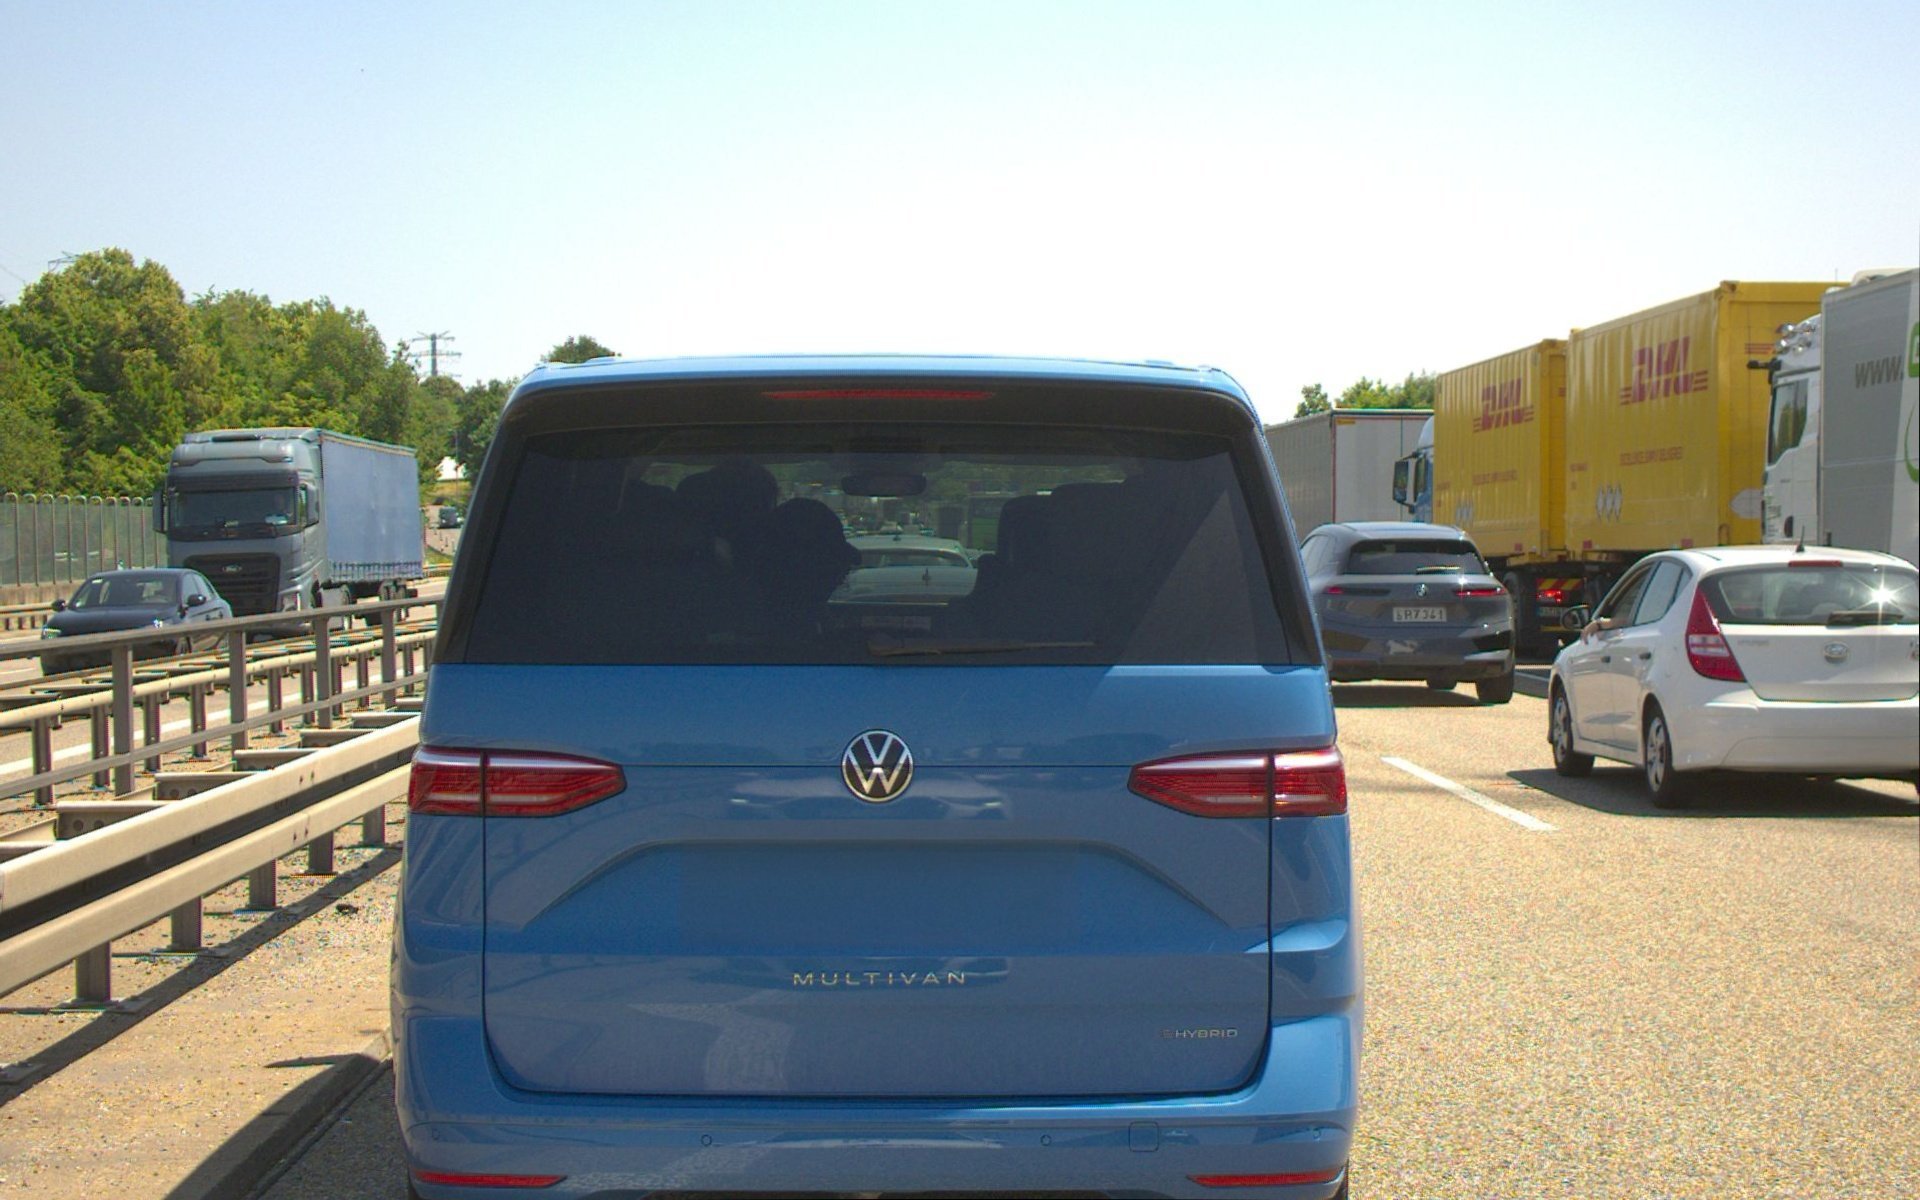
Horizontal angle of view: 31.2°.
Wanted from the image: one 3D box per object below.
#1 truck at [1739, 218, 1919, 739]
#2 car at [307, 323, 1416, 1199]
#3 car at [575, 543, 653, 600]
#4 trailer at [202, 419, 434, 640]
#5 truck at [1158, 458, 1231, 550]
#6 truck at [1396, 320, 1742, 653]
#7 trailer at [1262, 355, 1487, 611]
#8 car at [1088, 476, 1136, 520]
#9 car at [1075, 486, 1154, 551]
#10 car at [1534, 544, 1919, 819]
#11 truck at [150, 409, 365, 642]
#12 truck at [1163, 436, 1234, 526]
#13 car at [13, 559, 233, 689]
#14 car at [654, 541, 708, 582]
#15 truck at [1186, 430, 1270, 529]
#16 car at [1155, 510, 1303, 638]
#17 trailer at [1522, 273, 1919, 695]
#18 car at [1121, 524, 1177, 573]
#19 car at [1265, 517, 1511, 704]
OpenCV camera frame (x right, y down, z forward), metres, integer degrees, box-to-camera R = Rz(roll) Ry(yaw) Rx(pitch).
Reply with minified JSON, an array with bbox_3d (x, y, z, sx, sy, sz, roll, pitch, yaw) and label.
[{"bbox_3d":[8.645,-0.905,26.065,2.851,3.921,10.610,1,0,-1],"label":"truck"},{"bbox_3d":[-0.196,0.442,8.049,1.930,1.867,4.000,1,0,-1],"label":"car"},{"bbox_3d":[-9.643,-0.791,96.091,1.881,1.547,4.190,1,0,-2],"label":"car"},{"bbox_3d":[-13.211,-1.412,71.877,2.704,4.151,12.051,-2,1,-1],"label":"trailer"},{"bbox_3d":[6.711,-2.718,98.804,1.742,2.540,4.210,1,0,0],"label":"truck"},{"bbox_3d":[8.151,-1.444,47.434,2.699,4.074,9.940,1,0,-2],"label":"truck"},{"bbox_3d":[7.980,-2.160,67.680,3.026,4.595,10.925,1,0,0],"label":"trailer"},{"bbox_3d":[6.397,-4.294,144.745,1.797,1.745,3.943,1,0,0],"label":"car"},{"bbox_3d":[4.216,-2.216,94.111,1.919,1.700,4.000,1,0,-1],"label":"car"},{"bbox_3d":[4.698,0.425,20.484,1.815,1.465,3.932,1,0,-1],"label":"car"},{"bbox_3d":[-13.082,-1.354,64.543,2.753,4.102,6.266,-1,0,-1],"label":"truck"},{"bbox_3d":[7.184,-3.571,103.990,1.797,2.587,4.305,1,0,0],"label":"truck"},{"bbox_3d":[-10.404,0.271,42.991,1.797,1.493,3.852,-2,1,-1],"label":"car"},{"bbox_3d":[-10.899,-1.491,134.332,1.881,1.547,4.190,1,0,-2],"label":"car"},{"bbox_3d":[6.976,-3.119,89.938,1.798,2.441,4.504,1,0,0],"label":"truck"},{"bbox_3d":[4.208,-0.418,54.351,1.962,1.929,3.932,1,0,-1],"label":"car"},{"bbox_3d":[8.448,-1.163,37.944,2.682,4.074,8.981,1,0,-2],"label":"trailer"},{"bbox_3d":[6.919,-1.895,126.413,1.797,1.745,3.943,1,0,0],"label":"car"},{"bbox_3d":[4.056,0.078,33.149,1.815,1.673,3.932,1,0,-1],"label":"car"}]
